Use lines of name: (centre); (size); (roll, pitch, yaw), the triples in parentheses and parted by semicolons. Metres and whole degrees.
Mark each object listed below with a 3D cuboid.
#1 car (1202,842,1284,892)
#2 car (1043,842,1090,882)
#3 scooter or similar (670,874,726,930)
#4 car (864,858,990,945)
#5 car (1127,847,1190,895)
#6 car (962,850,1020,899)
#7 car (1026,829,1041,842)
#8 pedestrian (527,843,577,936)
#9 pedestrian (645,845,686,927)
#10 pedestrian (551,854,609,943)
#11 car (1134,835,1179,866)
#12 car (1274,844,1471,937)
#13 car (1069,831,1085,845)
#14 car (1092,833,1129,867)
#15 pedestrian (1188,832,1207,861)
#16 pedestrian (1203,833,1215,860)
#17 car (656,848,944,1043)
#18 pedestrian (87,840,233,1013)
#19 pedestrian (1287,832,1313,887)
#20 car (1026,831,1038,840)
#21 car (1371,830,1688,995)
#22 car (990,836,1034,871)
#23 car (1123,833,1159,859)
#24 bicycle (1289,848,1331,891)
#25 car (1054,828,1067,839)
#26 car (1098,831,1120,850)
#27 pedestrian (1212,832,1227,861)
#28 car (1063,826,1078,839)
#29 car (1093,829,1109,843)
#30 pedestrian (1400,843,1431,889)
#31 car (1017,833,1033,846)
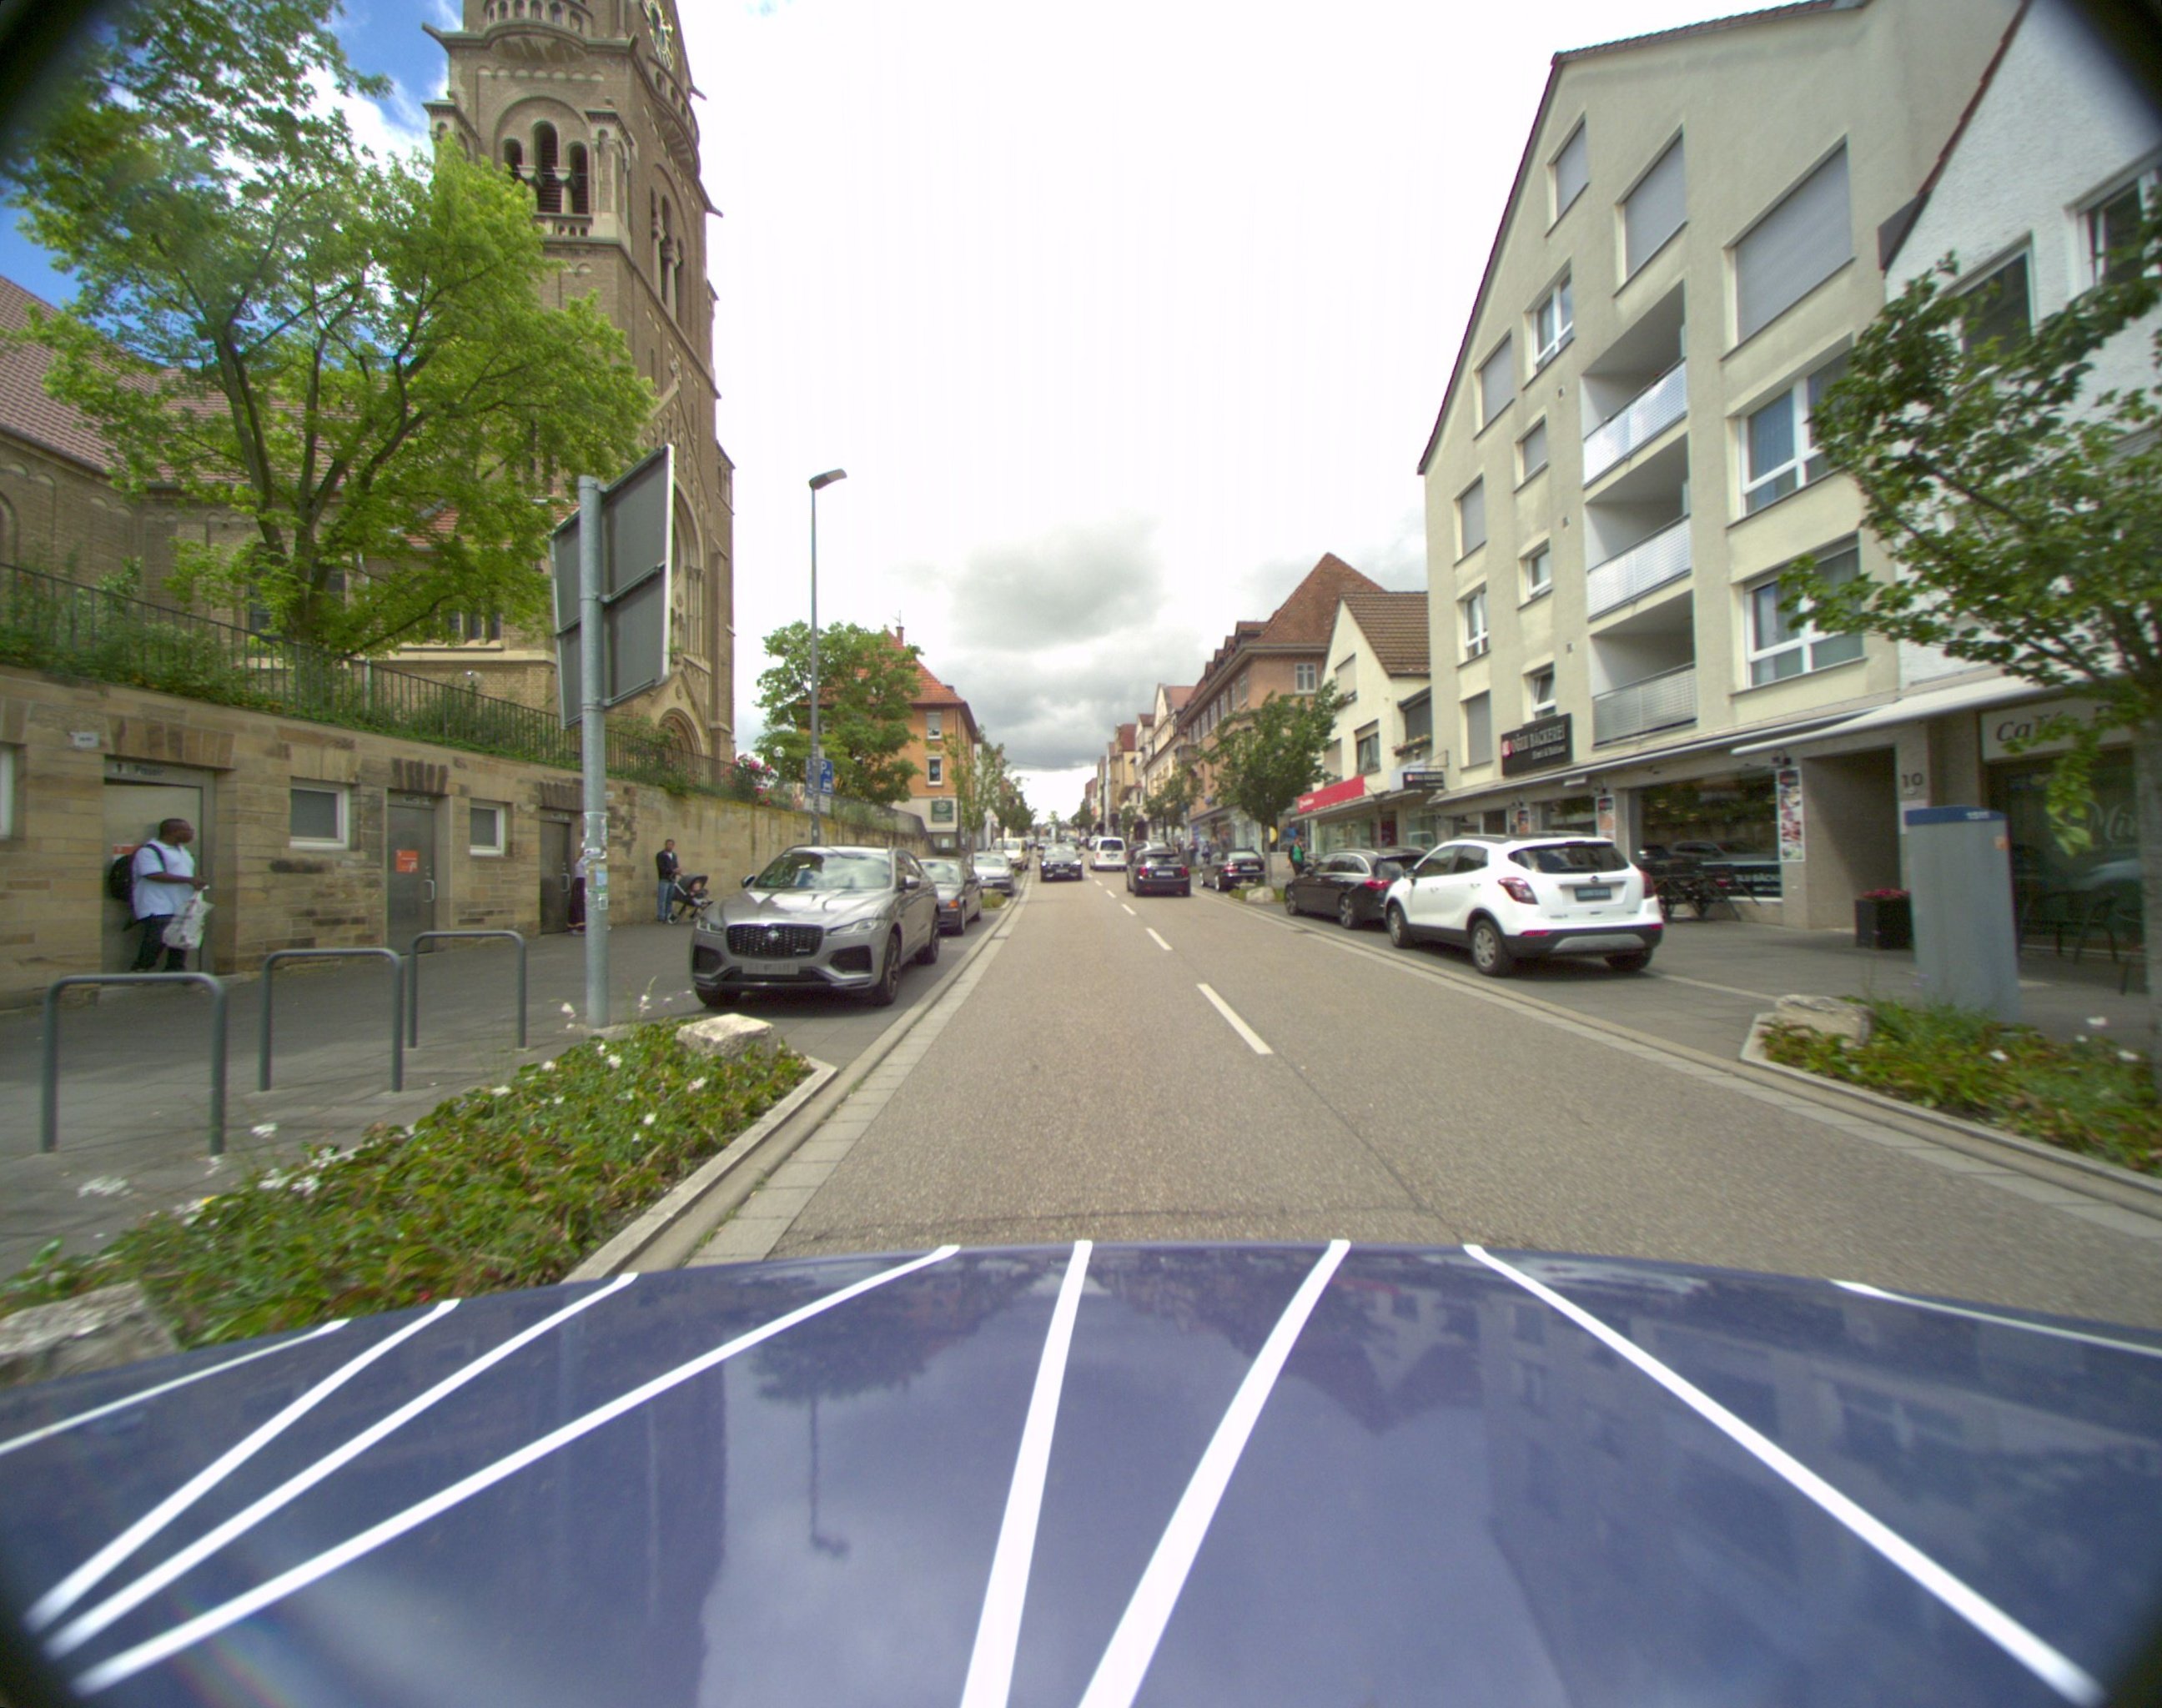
car: (5.247, 0.354, 25.176); (1.661, 1.384, 4.441); (-2, 2, -1)
car: (-0.680, 0.322, 33.861); (1.895, 1.516, 3.733); (-3, 2, -2)
scooter or similar: (-7.764, 0.960, 15.410); (0.813, 1.066, 0.560); (0, 2, 9)
car: (-2.970, 0.845, 15.601); (1.685, 1.409, 4.370); (-1, 1, 0)
car: (2.421, 0.491, 24.441); (1.611, 1.380, 3.628); (0, 1, -1)
car: (-2.988, 0.631, 25.941); (1.759, 1.433, 4.086); (0, 2, -4)
car: (-6.145, -2.399, 98.191); (1.774, 1.516, 3.527); (-1, 2, -3)
pedestrian: (-9.533, 0.633, 13.701); (0.473, 1.637, 0.507); (0, 2, 9)
pedestrian: (-8.433, 0.632, 15.436); (0.473, 1.637, 0.507); (0, 2, 9)
pedestrian: (-8.738, 0.761, 13.260); (0.589, 1.515, 0.584); (0, 1, 9)
car: (4.209, -0.269, 42.839); (1.730, 1.565, 4.451); (-2, 2, -4)
car: (5.504, 0.581, 15.086); (1.845, 1.443, 4.512); (-3, 2, -5)
car: (-0.504, -1.888, 87.888); (1.686, 1.492, 4.151); (0, 2, -3)
car: (1.555, -0.268, 41.708); (1.751, 1.792, 4.210); (1, 2, -1)
pedestrian: (6.699, -0.445, 43.701); (0.873, 1.657, 0.906); (-2, 3, -4)
pedestrian: (7.032, -0.411, 41.846); (0.497, 1.470, 0.528); (-2, 3, -4)
car: (-2.913, 0.793, 9.083); (1.934, 1.714, 4.571); (0, 1, -3)
pedestrian: (-9.555, 0.722, 7.920); (0.597, 1.720, 0.762); (1, 1, -4)
pedestrian: (7.207, 0.172, 25.026); (0.661, 1.751, 0.778); (-1, 3, 3)
car: (-7.163, -2.731, 111.284); (1.690, 1.366, 3.527); (-1, 2, -3)
car: (5.419, 0.575, 9.907); (1.670, 1.637, 4.133); (-3, 1, 0)
car: (-3.893, -0.099, 43.533); (1.889, 1.837, 5.029); (0, 2, 2)
car: (3.904, -0.550, 50.018); (1.669, 1.518, 3.960); (-3, 2, -4)
bicycle: (6.388, 0.411, 21.295); (0.485, 1.101, 1.907); (-2, 2, -3)
car: (-3.181, -3.148, 117.373); (1.895, 1.670, 3.733); (1, 2, -3)
car: (2.602, -1.329, 71.165); (1.732, 1.670, 3.989); (-1, 2, -3)
pedestrian: (7.620, -0.438, 41.858); (0.615, 1.573, 0.641); (-2, 3, -4)
car: (-1.401, -2.892, 102.478); (1.831, 1.680, 3.856); (0, 2, -3)
car: (2.315, -2.123, 88.878); (1.690, 1.516, 3.527); (-1, 2, -3)
pedestrian: (9.457, 0.331, 21.500); (0.597, 1.240, 0.598); (-2, 2, -2)
car: (-6.439, -1.695, 87.943); (1.774, 1.516, 3.527); (-1, 2, -3)
